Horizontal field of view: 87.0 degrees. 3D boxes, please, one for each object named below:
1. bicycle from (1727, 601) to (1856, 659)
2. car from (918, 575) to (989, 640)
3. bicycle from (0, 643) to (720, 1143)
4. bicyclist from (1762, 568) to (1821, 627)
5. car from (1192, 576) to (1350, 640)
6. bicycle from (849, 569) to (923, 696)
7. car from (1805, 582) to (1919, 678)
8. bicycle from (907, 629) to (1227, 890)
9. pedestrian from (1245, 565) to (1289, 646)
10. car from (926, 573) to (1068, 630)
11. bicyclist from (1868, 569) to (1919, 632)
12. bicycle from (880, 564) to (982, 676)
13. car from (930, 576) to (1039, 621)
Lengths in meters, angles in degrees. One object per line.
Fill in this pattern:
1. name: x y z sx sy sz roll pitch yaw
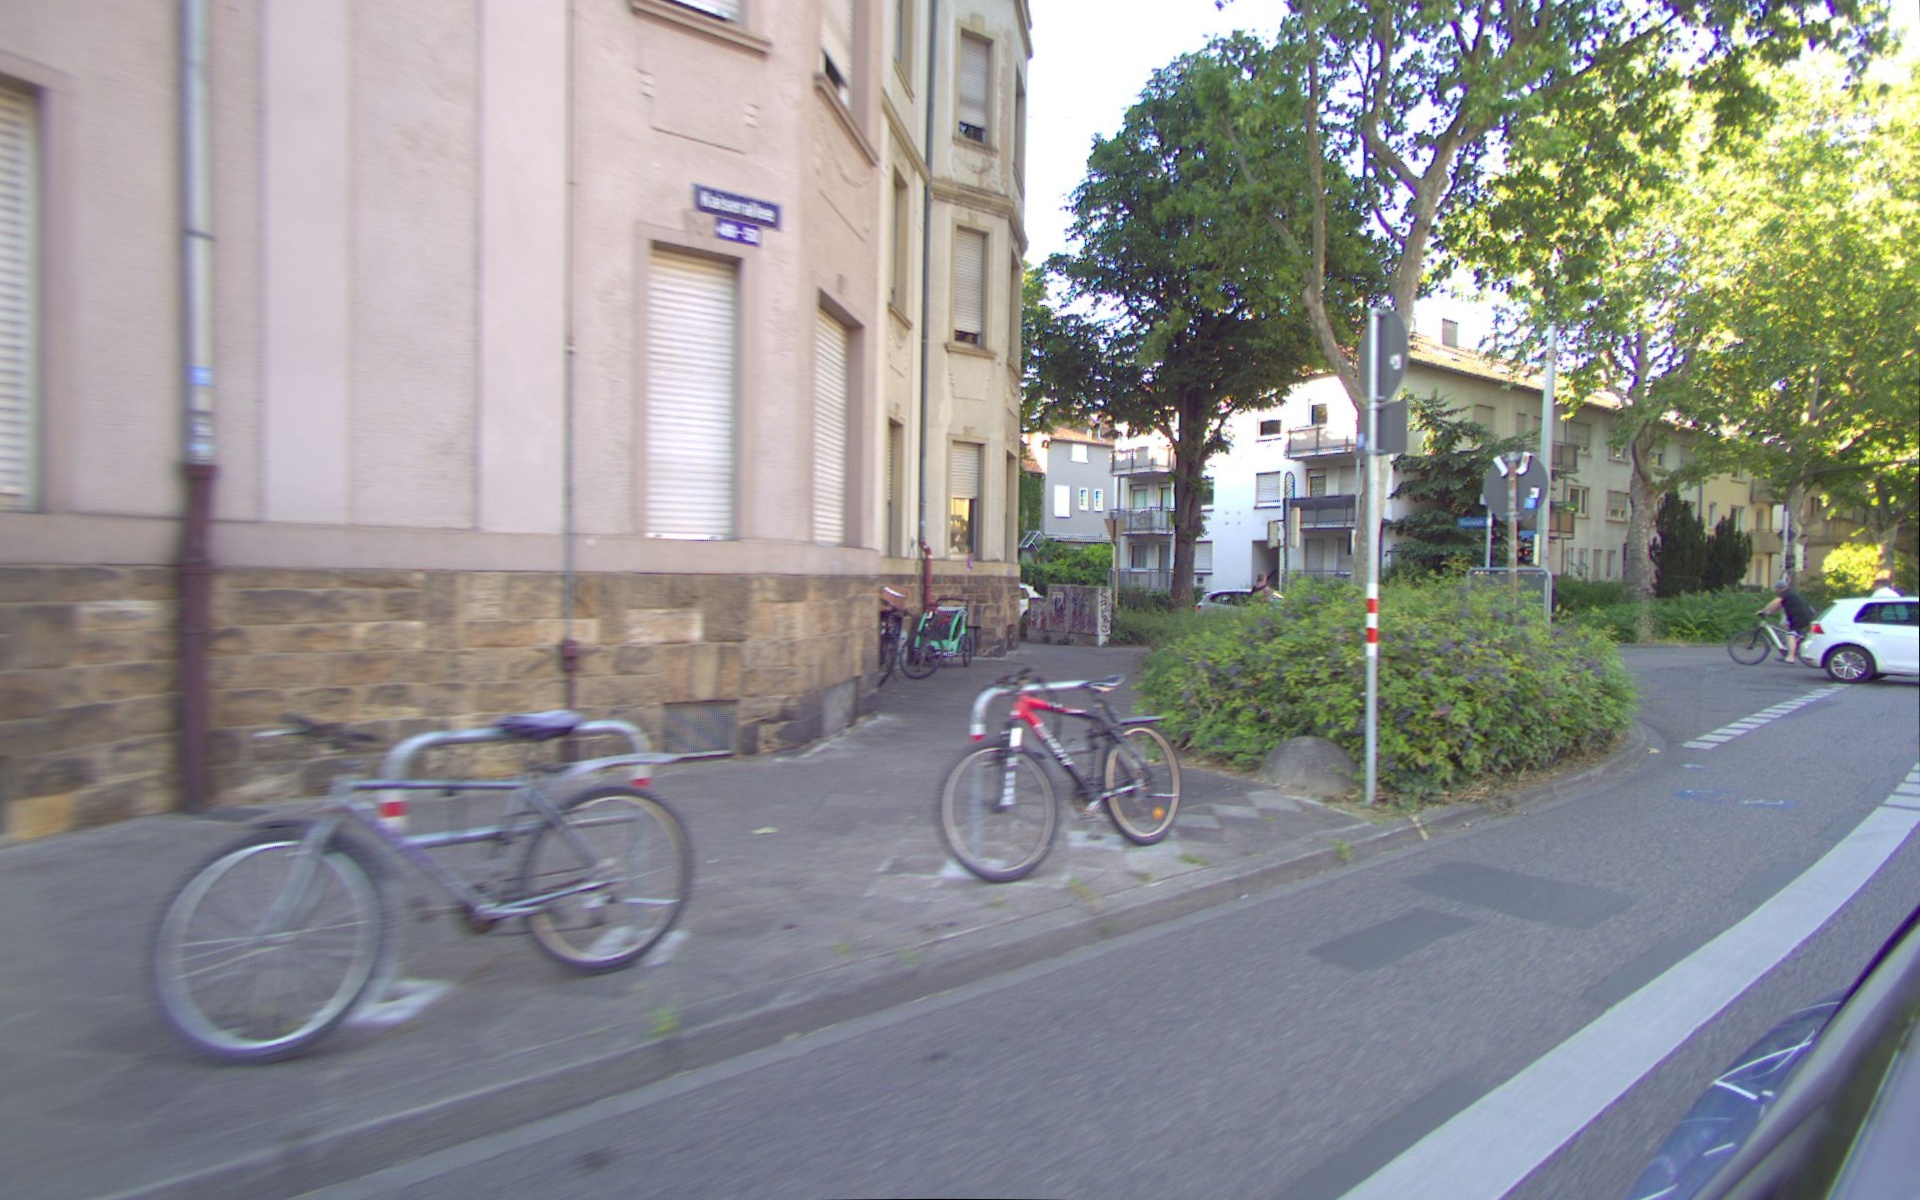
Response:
1. bicycle: 17.043 0.583 20.786 0.640 1.119 1.925 -1 0 -31
2. car: -0.095 0.103 16.845 0.913 0.959 1.061 5 3 12
3. bicycle: -1.735 0.744 3.224 1.898 1.112 0.437 -1 2 -40
4. bicyclist: 17.047 -0.063 20.760 0.600 1.172 0.768 -1 2 -32
5. car: 8.388 0.157 27.669 1.746 1.544 4.062 -1 2 -29
6. bicycle: -0.865 0.334 12.233 0.365 1.412 1.925 1 1 12
7. car: 16.351 0.503 16.092 1.809 1.468 4.113 -2 3 -33
8. bicycle: 0.604 0.722 5.137 1.839 1.082 0.371 -1 1 -36
9. pedestrian: 7.098 0.115 23.415 0.688 1.828 0.667 -1 2 -28
10. car: 1.130 0.024 29.864 3.971 1.595 1.684 0 1 -35
11. bicyclist: 19.341 -0.001 20.859 0.648 1.251 0.768 -1 2 -32
12. bicycle: -0.362 0.208 15.190 0.938 1.490 3.151 0 2 9
13. car: 0.862 -0.116 38.737 1.809 1.536 4.756 -2 3 -33
